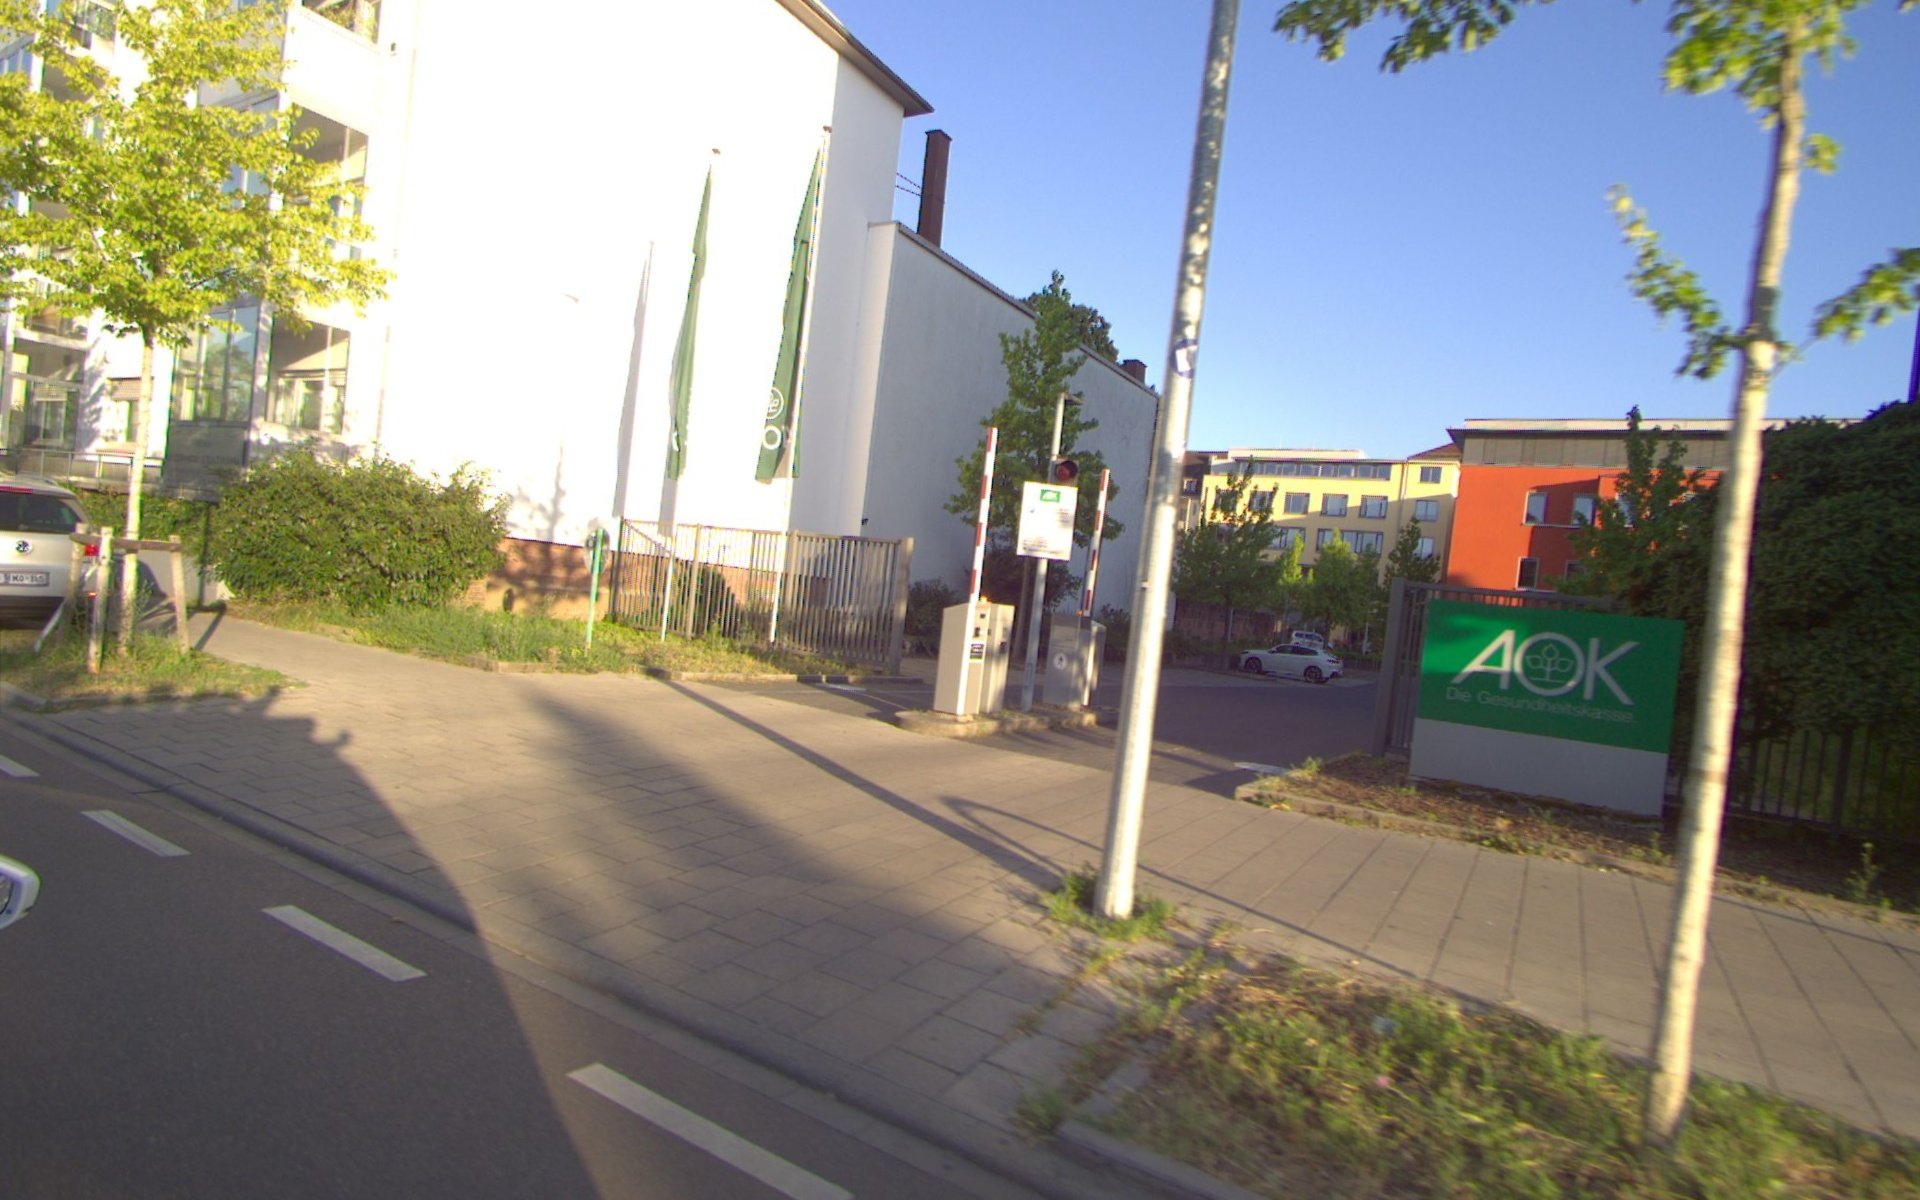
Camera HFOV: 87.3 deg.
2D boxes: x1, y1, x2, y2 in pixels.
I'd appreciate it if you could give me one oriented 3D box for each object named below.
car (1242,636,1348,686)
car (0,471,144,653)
[{"bbox_3d":[15.063,2.731,45.296,4.061,1.685,1.820,7,1,33],"label":"car"},{"bbox_3d":[-10.919,-0.579,10.817,4.181,1.728,1.857,7,1,30],"label":"car"}]
